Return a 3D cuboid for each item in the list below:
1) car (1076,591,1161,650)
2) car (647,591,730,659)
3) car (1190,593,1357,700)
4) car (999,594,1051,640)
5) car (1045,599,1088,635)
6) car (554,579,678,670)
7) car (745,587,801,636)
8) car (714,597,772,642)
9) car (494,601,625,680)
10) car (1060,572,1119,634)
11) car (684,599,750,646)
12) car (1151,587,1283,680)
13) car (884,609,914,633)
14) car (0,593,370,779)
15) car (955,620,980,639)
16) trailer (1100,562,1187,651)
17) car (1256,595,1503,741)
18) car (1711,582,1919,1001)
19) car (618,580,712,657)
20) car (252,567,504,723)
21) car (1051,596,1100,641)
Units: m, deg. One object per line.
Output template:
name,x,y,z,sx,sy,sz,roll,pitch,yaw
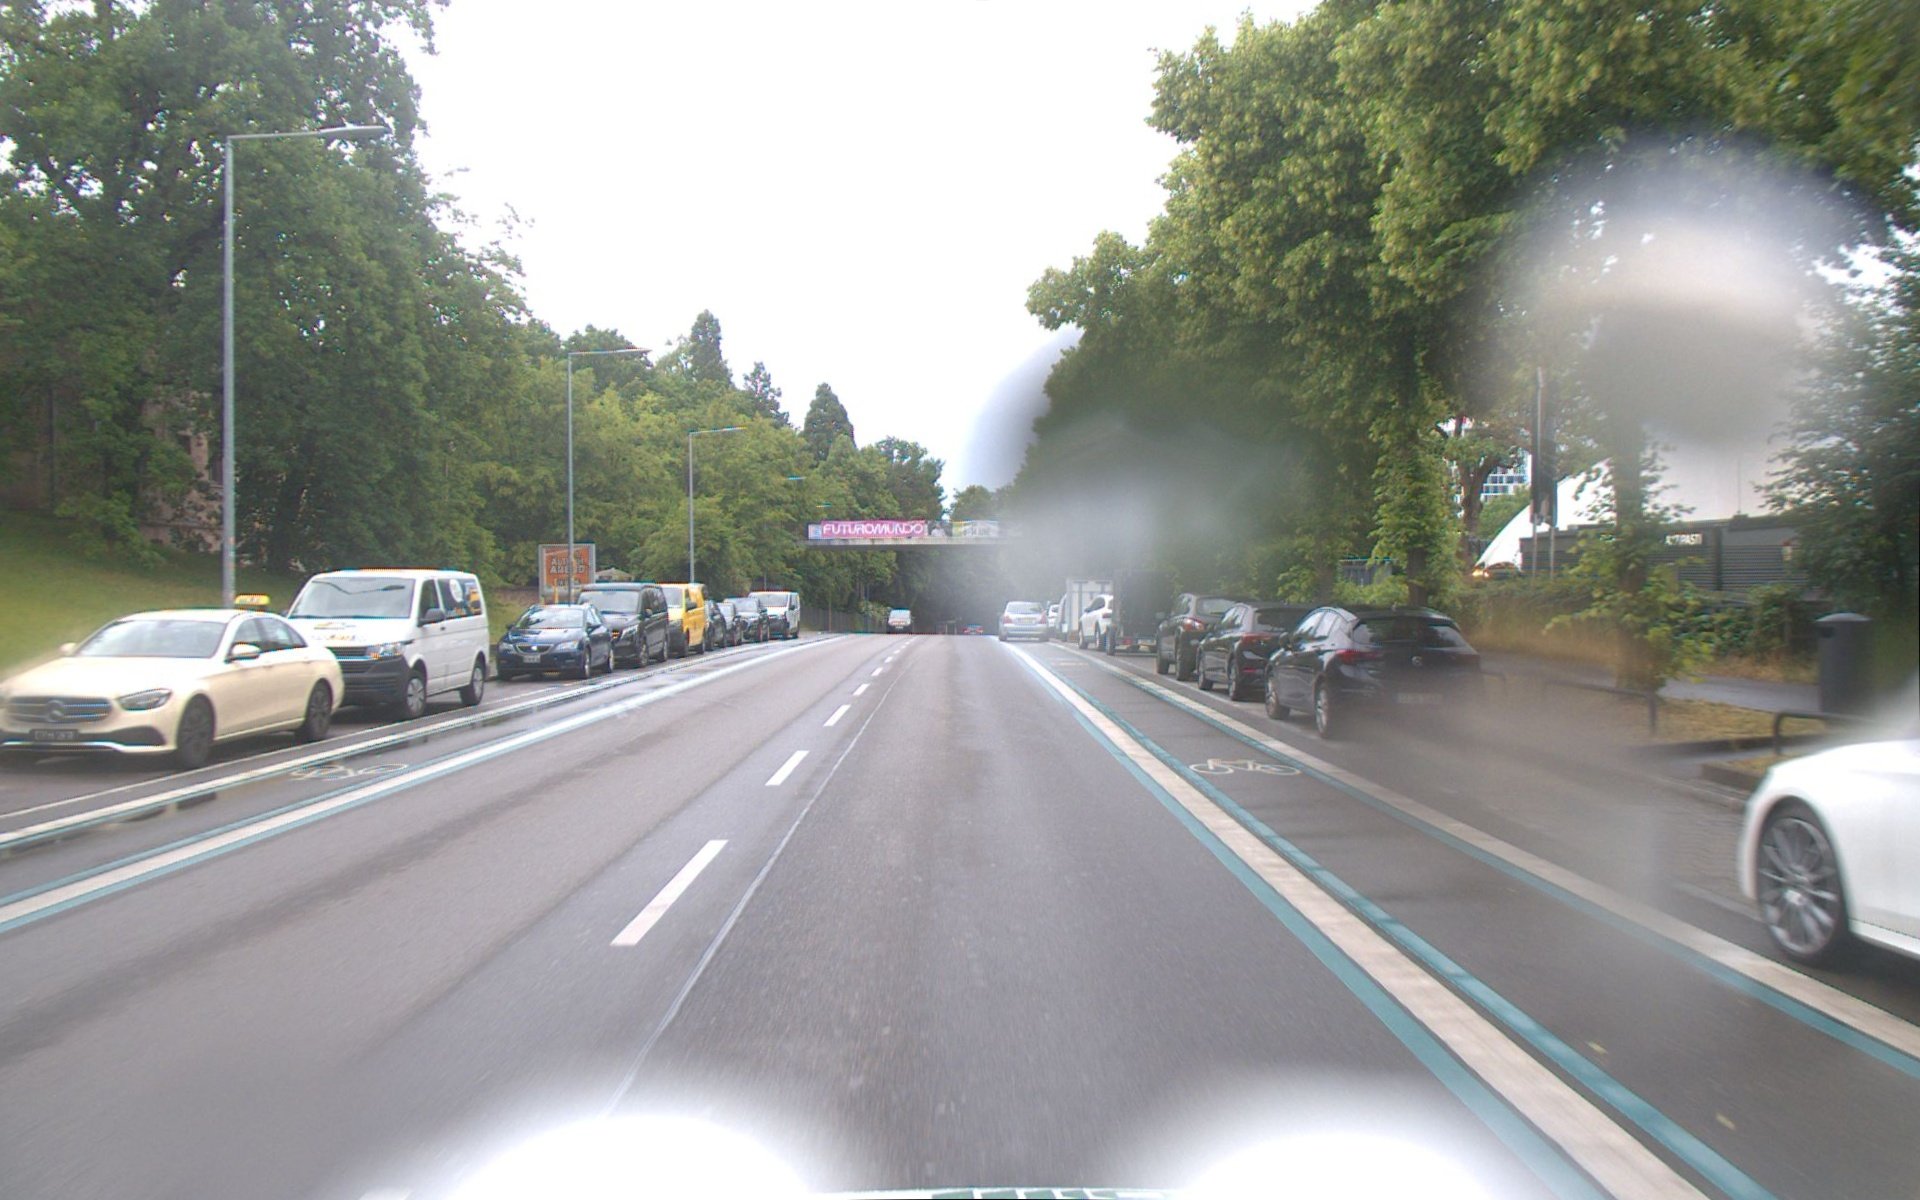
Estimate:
car,4.520,0.568,47.697,1.697,1.611,4.150,-1,0,-5
car,-8.262,0.718,50.655,1.950,1.926,4.054,0,1,-1
car,4.805,0.669,25.909,1.696,1.489,4.071,1,1,-2
car,2.340,0.580,60.728,1.696,1.611,4.036,-1,0,-1
car,4.621,0.733,72.223,1.695,1.488,4.045,-1,0,1
car,-8.084,0.508,39.316,1.950,1.980,5.141,0,1,-1
car,-7.819,0.457,69.520,1.721,1.965,4.194,0,1,2
car,-8.115,0.705,62.077,1.833,1.569,4.052,0,1,-3
car,-8.110,0.778,33.853,1.696,1.414,4.369,0,1,-1
car,4.682,0.110,60.219,1.850,2.164,4.045,-1,0,1
car,-8.208,0.742,56.157,1.848,1.476,3.980,0,1,-3
car,4.800,0.582,31.386,1.696,1.611,4.153,1,0,-2
car,-3.974,1.346,107.087,1.832,1.499,4.051,0,-1,-3
car,-8.019,0.753,17.145,1.949,1.633,4.985,0,0,1
car,0.712,2.640,149.184,2.095,1.518,4.500,0,1,2
trailer,4.788,0.153,43.586,1.845,2.204,3.808,-1,0,0
car,4.819,0.714,19.617,1.696,1.489,4.275,1,0,-2
car,4.537,0.741,5.364,1.753,1.570,4.886,1,0,-3
car,-8.049,0.459,45.576,1.845,1.979,4.825,0,1,-2
car,-8.017,0.526,23.335,1.874,1.965,4.927,0,1,-1
car,4.562,0.695,65.585,1.695,1.713,4.045,-1,0,1
